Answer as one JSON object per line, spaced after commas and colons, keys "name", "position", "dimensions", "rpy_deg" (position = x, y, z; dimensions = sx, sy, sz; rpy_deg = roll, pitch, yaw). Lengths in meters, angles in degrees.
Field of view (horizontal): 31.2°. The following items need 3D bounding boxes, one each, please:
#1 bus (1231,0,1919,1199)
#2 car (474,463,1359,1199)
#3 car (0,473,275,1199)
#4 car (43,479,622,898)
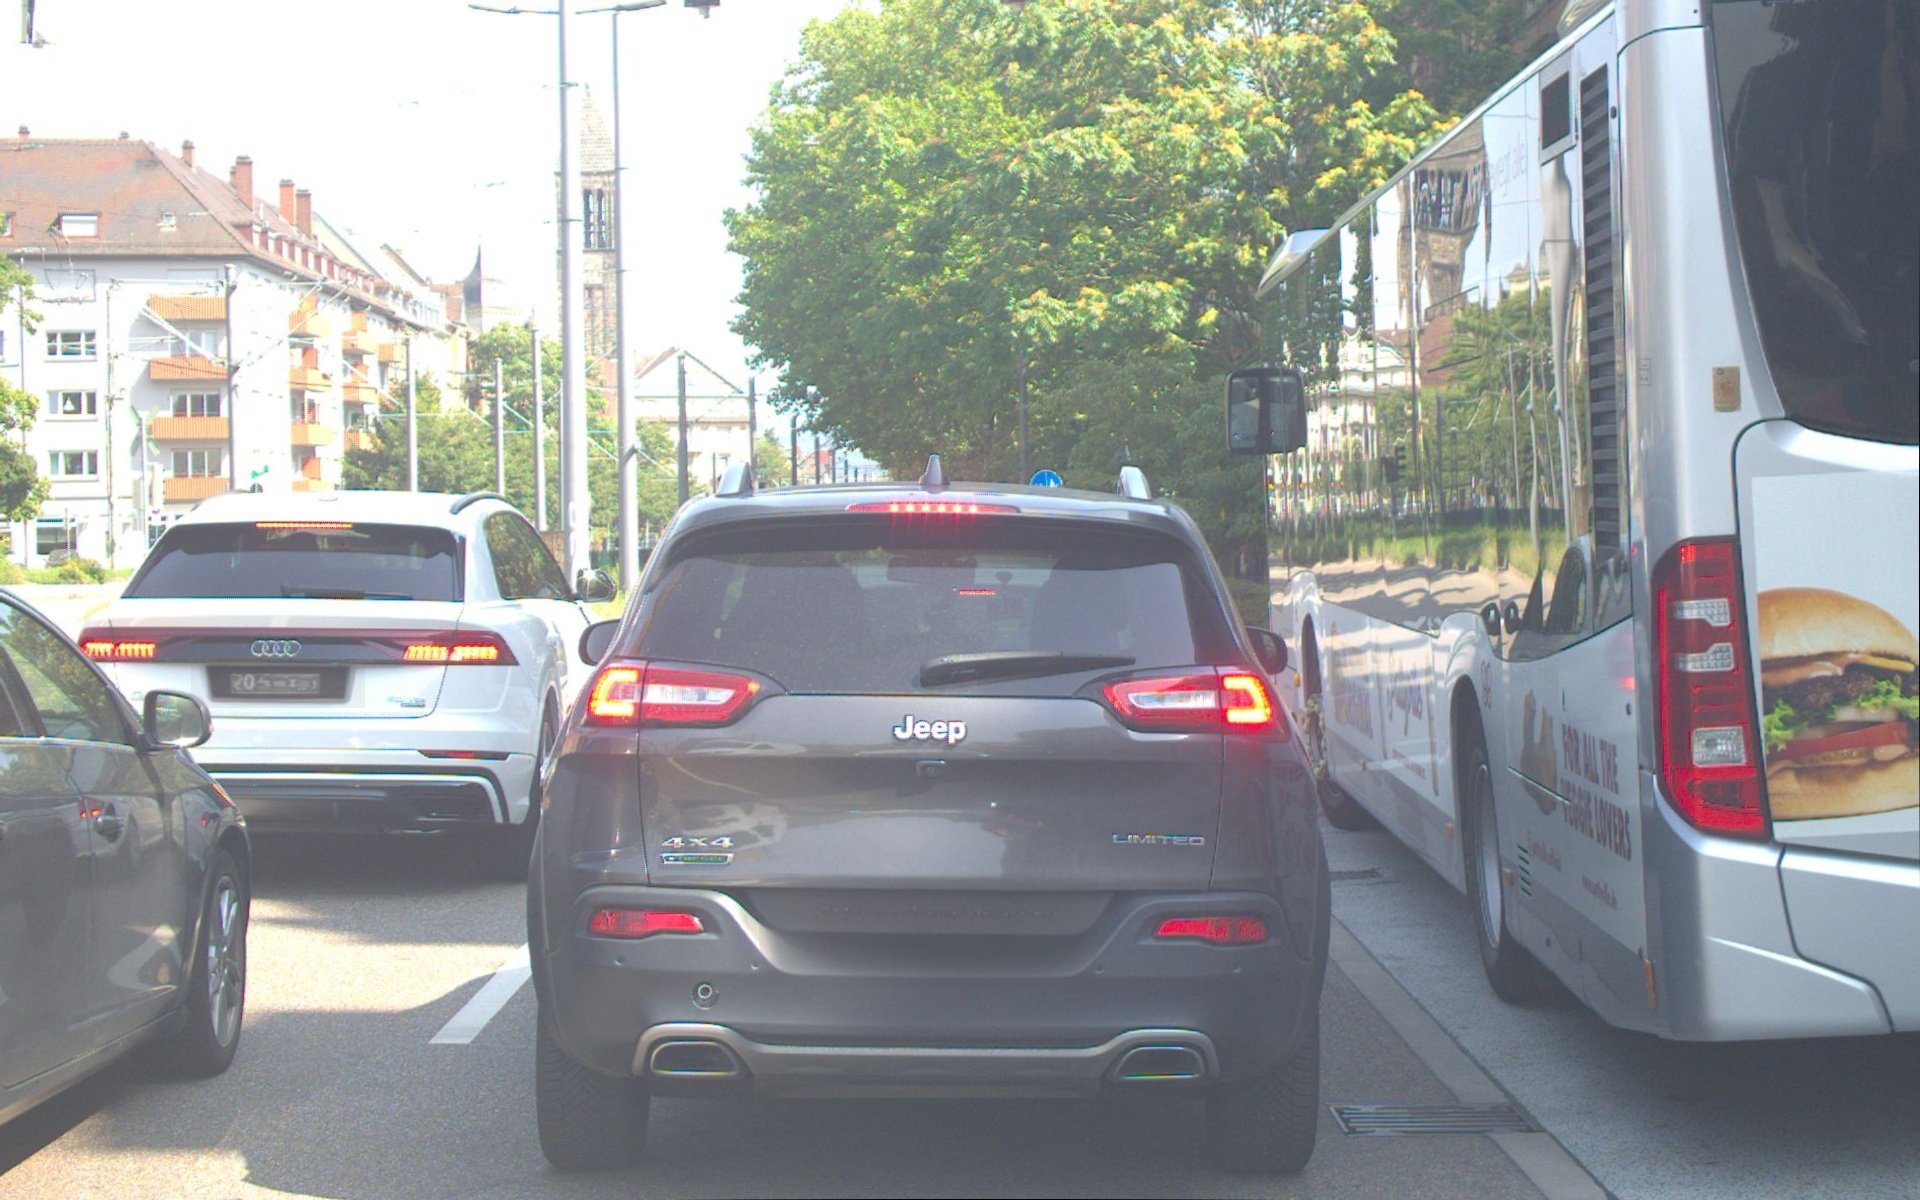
{"name": "bus", "position": [2.884, -0.412, 13.400], "dimensions": [2.743, 3.096, 11.956], "rpy_deg": [-3, 1, 1]}
{"name": "car", "position": [-0.079, 0.498, 9.319], "dimensions": [1.832, 1.646, 4.308], "rpy_deg": [0, 1, 0]}
{"name": "car", "position": [-2.857, 0.519, 7.898], "dimensions": [1.747, 1.609, 4.309], "rpy_deg": [0, 1, -1]}
{"name": "car", "position": [-2.685, 0.298, 15.707], "dimensions": [1.902, 1.646, 4.309], "rpy_deg": [0, 1, -1]}
